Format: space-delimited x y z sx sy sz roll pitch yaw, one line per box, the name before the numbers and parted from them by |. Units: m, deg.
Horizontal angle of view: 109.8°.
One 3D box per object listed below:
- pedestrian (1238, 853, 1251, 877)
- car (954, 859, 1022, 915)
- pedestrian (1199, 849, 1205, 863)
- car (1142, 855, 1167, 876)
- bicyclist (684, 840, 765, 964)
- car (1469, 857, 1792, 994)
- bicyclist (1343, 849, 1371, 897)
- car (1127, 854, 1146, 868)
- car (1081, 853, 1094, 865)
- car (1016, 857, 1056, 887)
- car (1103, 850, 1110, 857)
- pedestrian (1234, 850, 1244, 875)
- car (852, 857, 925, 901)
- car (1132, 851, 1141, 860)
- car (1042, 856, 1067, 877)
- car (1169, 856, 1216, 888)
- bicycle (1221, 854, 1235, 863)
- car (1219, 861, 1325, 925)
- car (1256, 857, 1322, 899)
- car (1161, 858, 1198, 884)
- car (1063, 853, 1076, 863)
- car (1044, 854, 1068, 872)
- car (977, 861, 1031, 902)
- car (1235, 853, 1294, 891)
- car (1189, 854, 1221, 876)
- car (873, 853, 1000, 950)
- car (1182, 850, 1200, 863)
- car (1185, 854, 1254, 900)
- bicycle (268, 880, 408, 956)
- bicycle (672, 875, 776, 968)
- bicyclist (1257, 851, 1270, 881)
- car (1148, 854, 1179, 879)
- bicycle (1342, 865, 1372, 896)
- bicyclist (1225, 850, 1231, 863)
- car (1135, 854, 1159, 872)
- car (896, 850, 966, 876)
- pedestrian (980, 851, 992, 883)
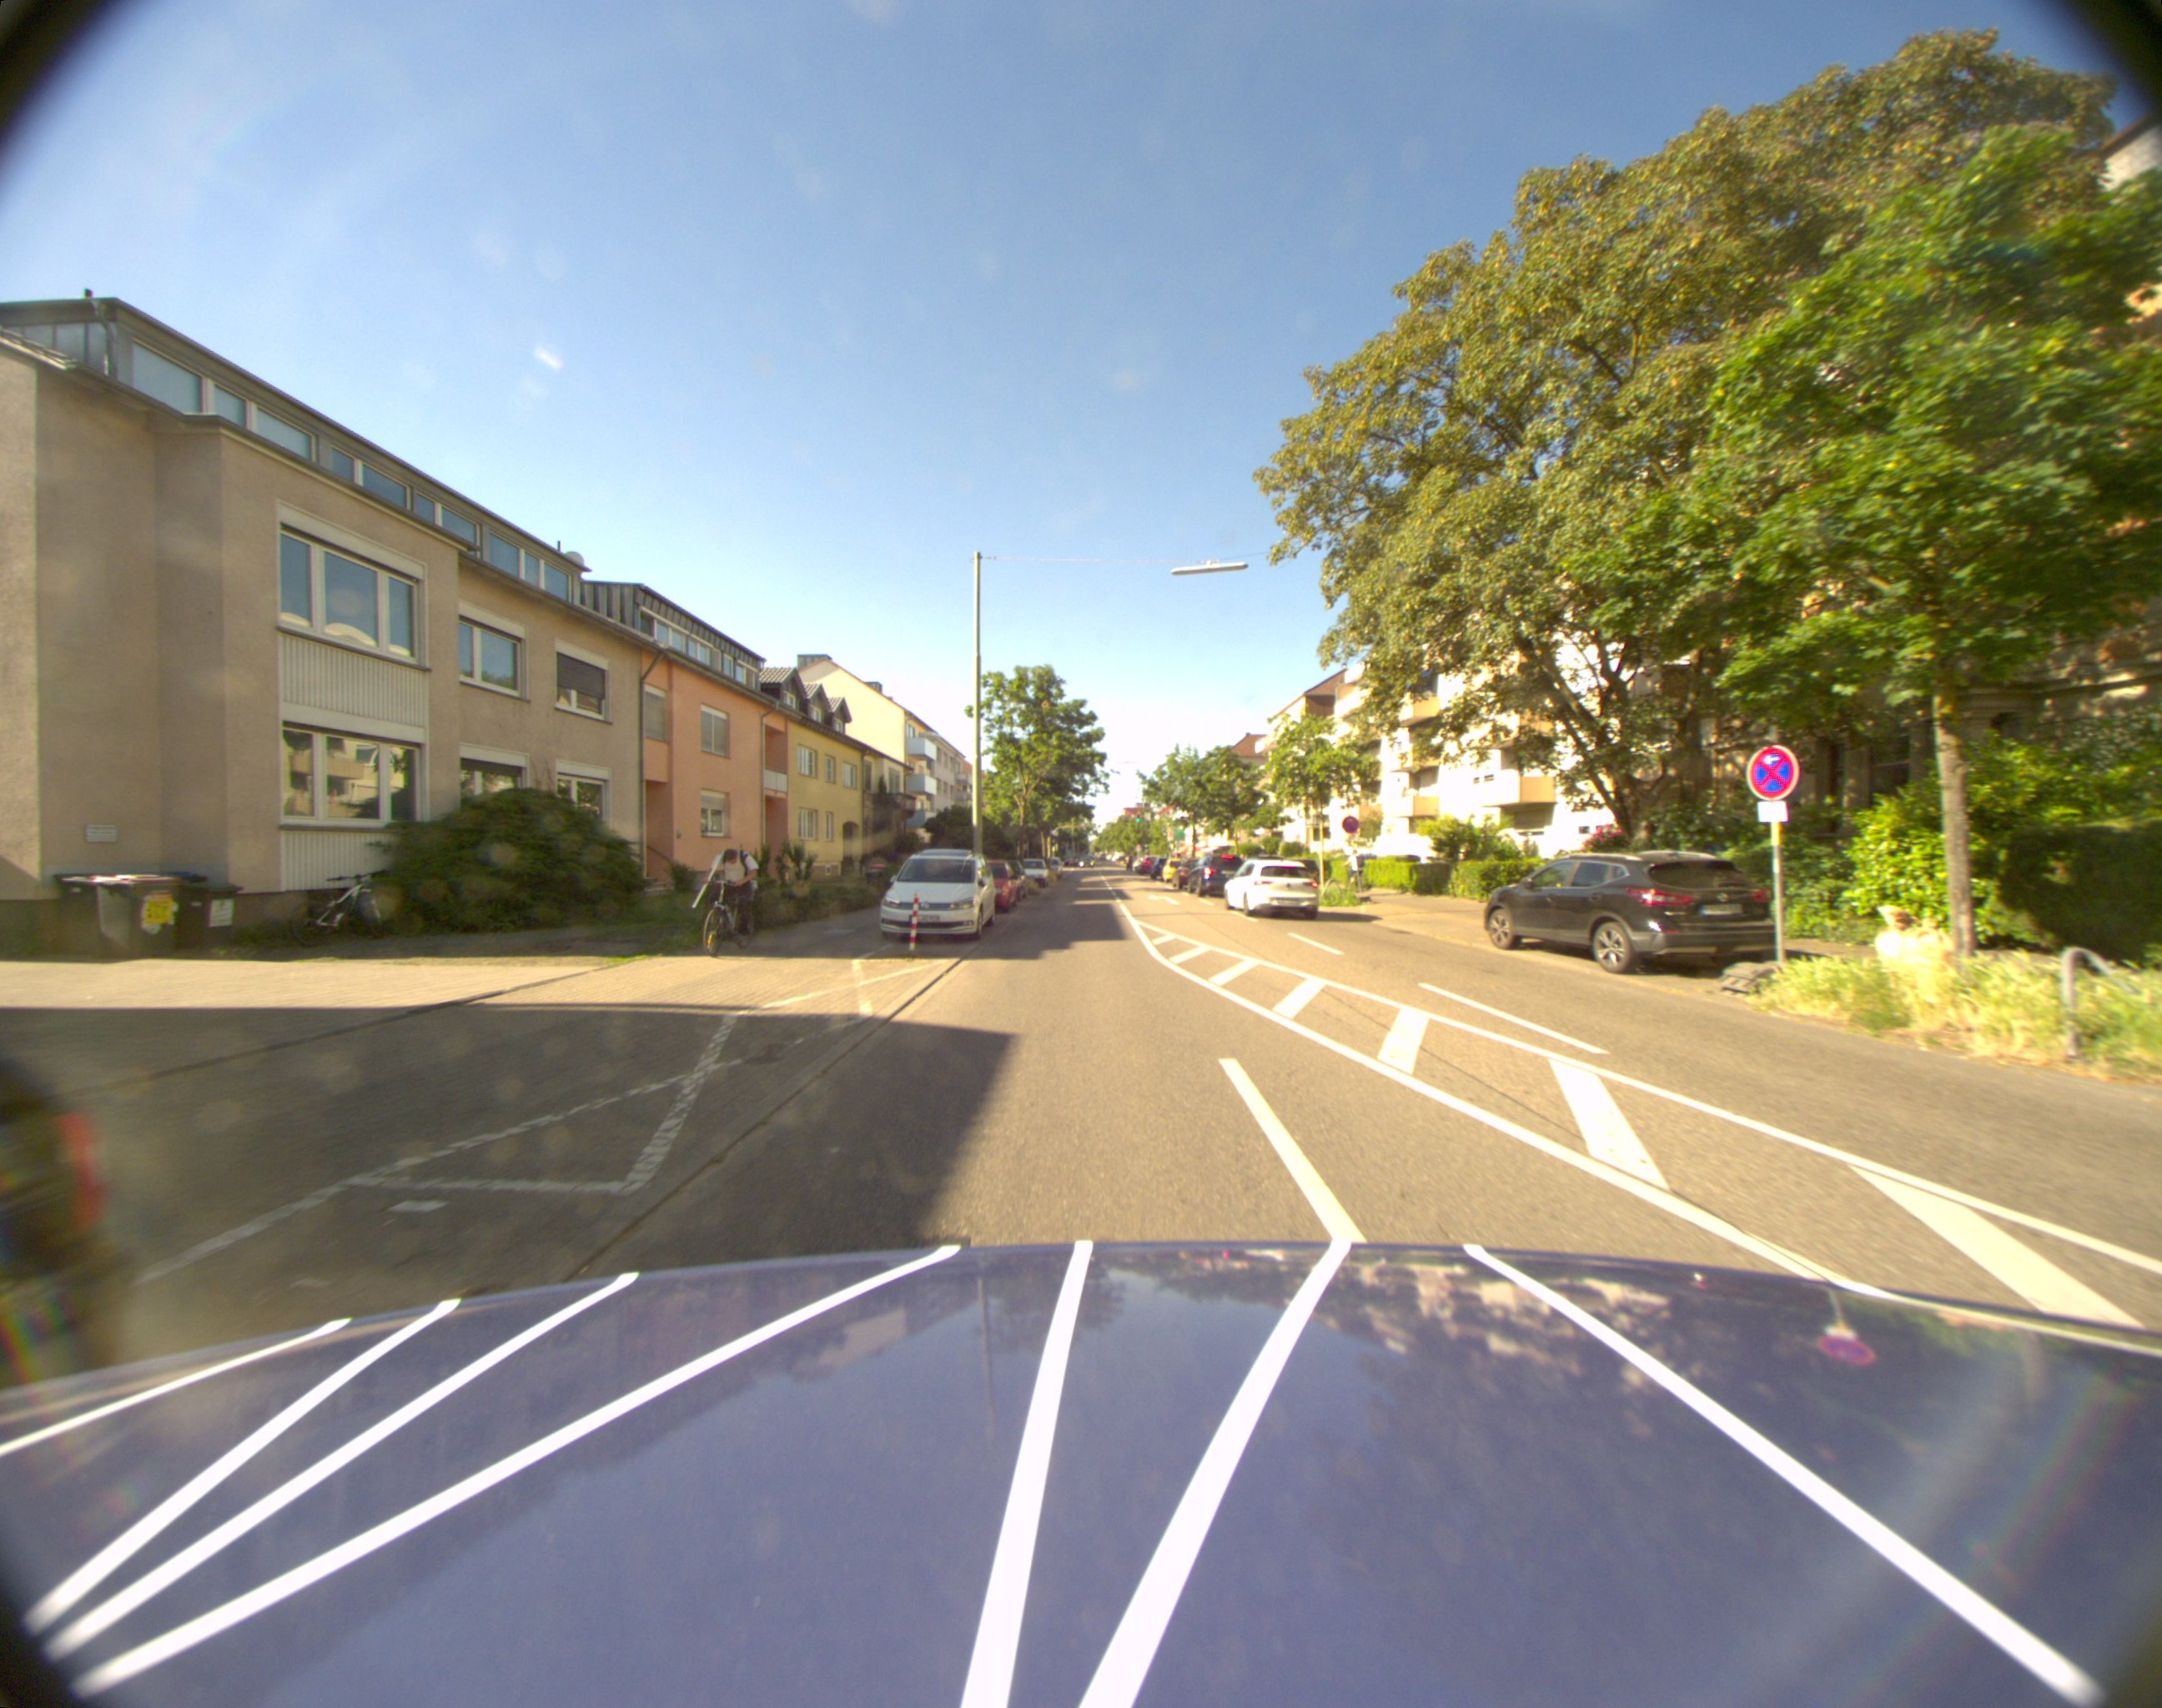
pedestrian | 11.541 0.742 53.545 0.671 1.677 0.929 -1 1 0
car | -2.613 0.887 22.022 1.536 1.441 3.717 0 0 -1
pedestrian | 14.331 0.291 90.117 0.659 1.649 0.682 0 1 2
car | 5.939 0.915 61.842 1.726 1.607 4.300 2 0 2
bicyclist | -5.349 0.692 11.450 0.726 1.783 1.015 1 1 1
car | 7.729 0.870 11.321 1.629 1.579 4.347 -2 0 0
bicyclist | 10.410 0.707 28.691 0.584 1.756 1.208 -2 1 0
car | 6.016 0.695 82.896 1.702 1.398 4.505 2 0 0
car | 0.852 0.616 95.509 1.654 1.348 4.304 0 0 1
car | -2.259 0.888 39.001 1.653 1.395 3.970 1 0 2
car | 7.928 -0.198 236.734 1.966 1.910 5.496 0 0 1
pedestrian | 10.418 0.547 50.066 0.470 1.641 0.719 -1 1 1
car | -6.631 0.824 26.528 1.535 1.348 3.718 2 0 1
car | 9.153 0.260 124.788 1.322 1.348 3.093 0 0 1
car | -1.916 0.889 55.970 1.571 1.448 3.865 1 0 1
car | 5.310 0.848 36.573 1.585 1.443 3.744 0 0 -2
bicycle | 18.325 0.526 94.725 1.565 1.070 0.449 0 1 -1
car | 4.899 0.936 20.084 1.737 1.404 4.192 2 0 1
car | 8.036 0.899 29.657 1.605 1.468 3.931 -1 0 2
car | 5.742 0.943 44.600 1.639 1.395 3.735 2 0 -1
car | -1.805 0.579 115.863 1.822 1.541 4.304 0 0 1
car | -2.092 0.729 64.069 1.743 1.473 4.196 1 0 1
car | -2.697 0.939 27.304 1.535 1.348 3.718 0 0 1
car | 8.367 0.771 34.995 1.674 1.596 4.394 -1 0 1
car | 8.639 0.748 53.053 1.508 1.467 3.895 -1 0 -1
car | -2.731 0.819 15.332 1.773 1.649 4.340 1 0 -1
car | 14.685 0.328 101.649 1.764 1.613 4.304 0 0 1
car | 5.275 0.817 29.530 1.841 1.604 4.400 2 0 0
bicycle | -11.536 0.963 11.880 0.456 0.987 1.743 2 2 1
bicycle | -5.387 0.979 11.588 0.699 1.239 1.822 1 0 1
bicyclist | 10.500 0.686 43.677 0.610 1.744 0.691 0 1 1
car | 5.662 0.827 52.289 1.660 1.508 4.076 2 0 1
bicycle | 10.421 0.984 28.715 0.450 1.109 1.765 -2 0 0
bicyclist | 18.302 0.261 94.704 0.685 1.598 0.578 0 1 -1
car | 5.955 0.783 69.432 1.818 1.456 4.778 2 0 1
car | -9.442 0.565 48.083 3.997 1.432 1.831 3 0 1
pedestrian | -5.048 0.665 40.283 0.539 1.667 0.493 1 1 1
